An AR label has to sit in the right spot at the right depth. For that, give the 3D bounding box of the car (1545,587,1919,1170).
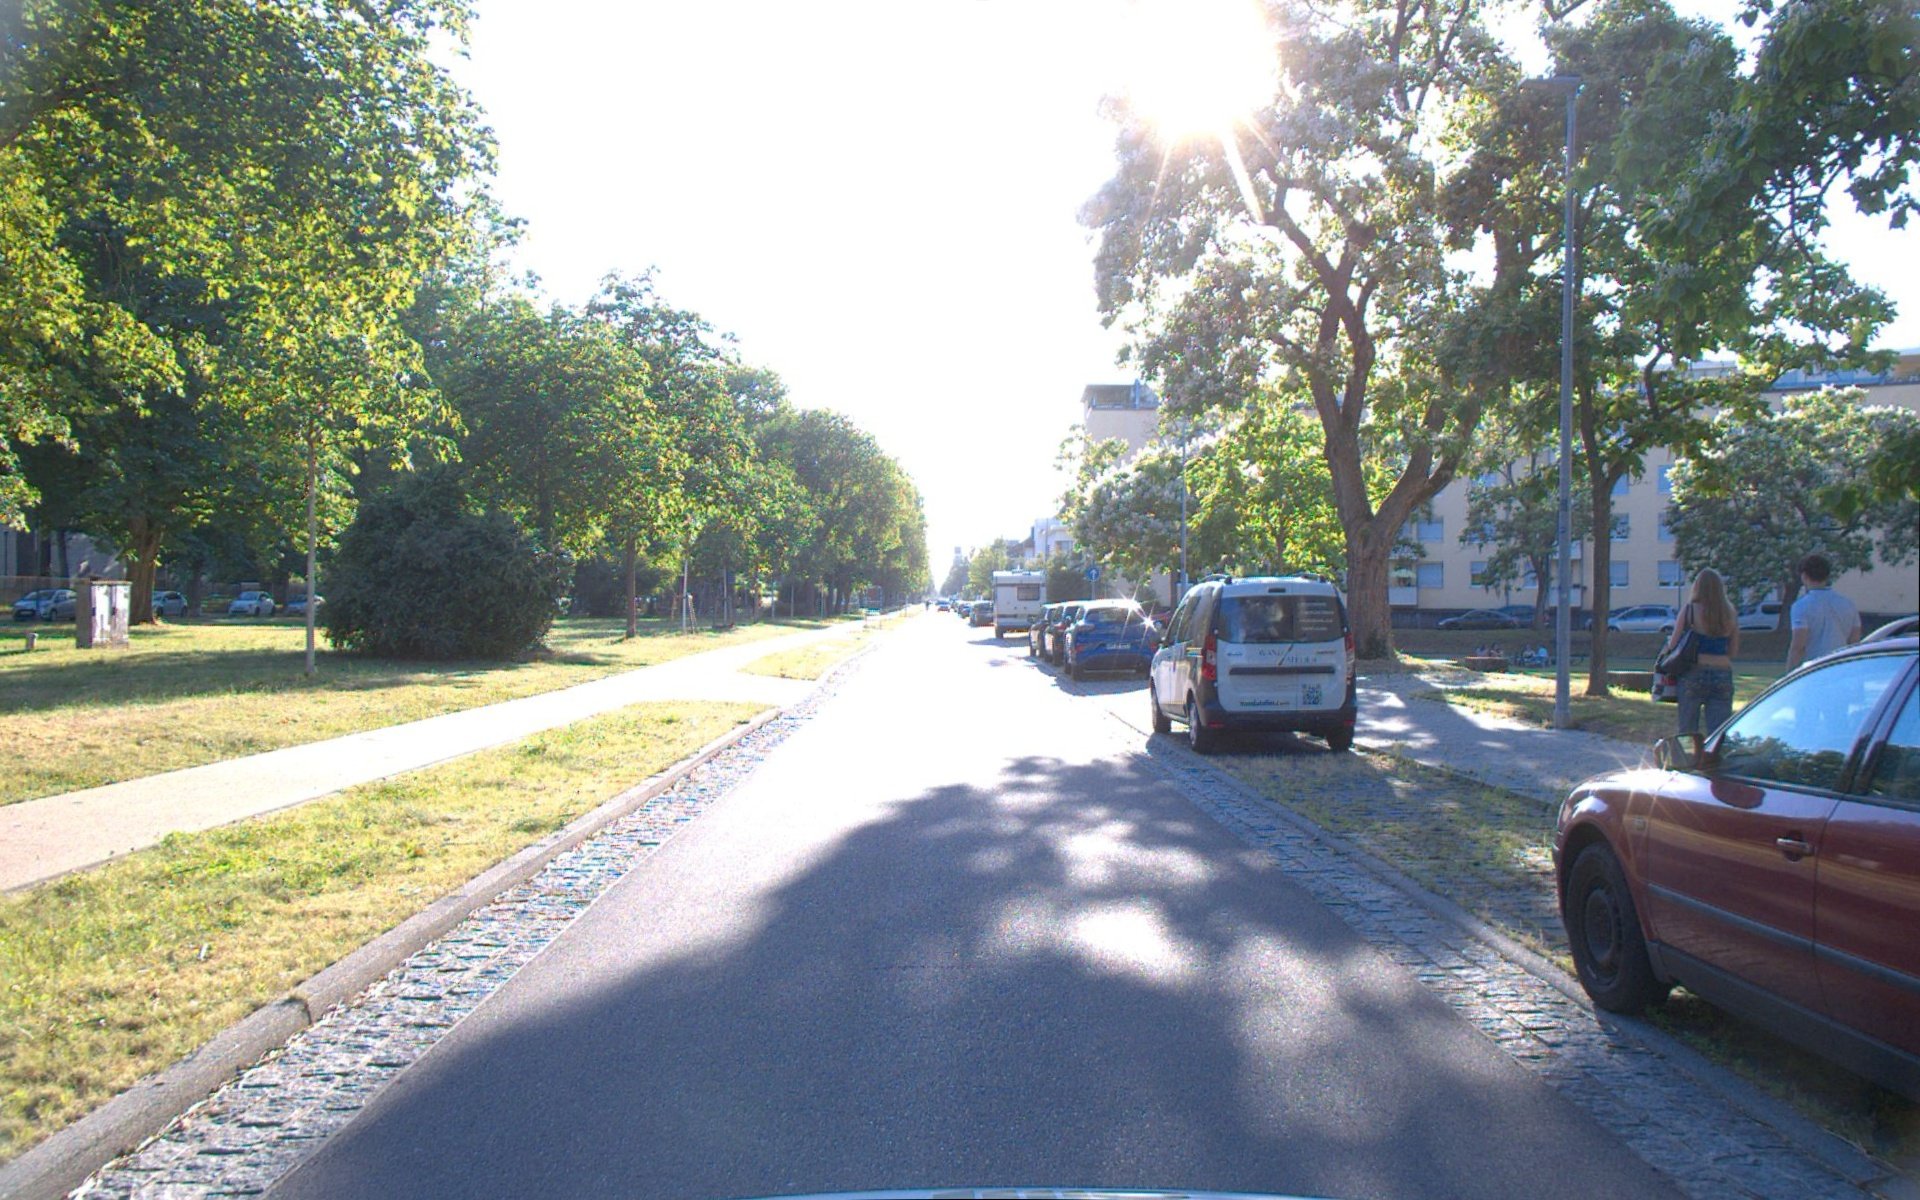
[{"bbox_3d":[3.309,0.724,4.524,1.644,1.512,4.808,0,-1,-1],"label":"car"}]

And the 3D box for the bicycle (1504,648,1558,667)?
[{"bbox_3d":[20.683,2.082,59.886,1.730,0.626,1.811,0,0,23],"label":"bicycle"}]

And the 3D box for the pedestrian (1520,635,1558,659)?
[{"bbox_3d":[21.906,1.776,62.613,0.570,0.827,1.238,2,0,-45],"label":"pedestrian"}]

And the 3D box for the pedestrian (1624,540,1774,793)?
[{"bbox_3d":[5.358,0.467,12.027,0.738,1.766,0.731,1,0,0],"label":"pedestrian"}]

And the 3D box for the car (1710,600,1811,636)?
[{"bbox_3d":[40.706,0.899,84.157,4.433,1.776,1.874,0,-1,35],"label":"car"}]

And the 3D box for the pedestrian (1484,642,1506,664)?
[{"bbox_3d":[20.924,2.058,64.690,0.598,0.827,0.724,1,0,1],"label":"pedestrian"}]

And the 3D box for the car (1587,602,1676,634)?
[{"bbox_3d":[33.081,0.879,81.492,3.909,1.579,1.608,0,-1,27],"label":"car"}]

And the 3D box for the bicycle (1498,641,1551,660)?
[{"bbox_3d":[20.835,1.845,61.003,1.730,0.626,1.811,0,0,23],"label":"bicycle"}]

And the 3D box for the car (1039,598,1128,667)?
[{"bbox_3d":[2.967,0.773,40.460,1.697,1.578,4.420,0,-1,-2],"label":"car"}]

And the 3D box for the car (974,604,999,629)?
[{"bbox_3d":[1.802,1.115,113.032,1.593,1.698,4.248,0,-1,-1],"label":"car"}]

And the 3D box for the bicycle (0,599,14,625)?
[{"bbox_3d":[-43.808,0.543,74.978,0.644,1.196,2.332,0,-1,-3],"label":"bicycle"}]

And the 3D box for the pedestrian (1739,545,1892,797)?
[{"bbox_3d":[6.211,0.503,12.040,0.710,1.766,0.731,1,0,0],"label":"pedestrian"}]

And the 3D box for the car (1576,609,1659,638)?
[{"bbox_3d":[34.723,1.245,87.345,3.910,1.478,1.878,0,-1,28],"label":"car"}]

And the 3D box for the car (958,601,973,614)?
[{"bbox_3d":[0.586,0.832,177.949,1.593,1.434,4.248,0,-1,-1],"label":"car"}]

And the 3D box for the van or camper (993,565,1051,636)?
[{"bbox_3d":[2.630,0.086,71.805,2.189,2.955,5.671,0,-2,-1],"label":"van or camper"}]

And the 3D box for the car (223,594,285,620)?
[{"bbox_3d":[-42.208,0.455,99.006,1.953,1.534,4.115,0,-1,0],"label":"car"}]

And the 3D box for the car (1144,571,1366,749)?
[{"bbox_3d":[3.203,0.620,18.793,1.644,1.770,4.512,0,-1,-1],"label":"car"}]

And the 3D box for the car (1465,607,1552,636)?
[{"bbox_3d":[29.810,1.162,89.930,4.416,1.597,1.881,0,-1,18],"label":"car"}]

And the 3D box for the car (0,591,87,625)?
[{"bbox_3d":[-42.460,0.394,76.592,1.953,1.534,4.000,0,-1,0],"label":"car"}]

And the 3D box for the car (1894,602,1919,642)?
[{"bbox_3d":[44.335,0.979,73.668,4.447,1.776,1.868,-1,-1,43],"label":"car"}]

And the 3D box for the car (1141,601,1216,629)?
[{"bbox_3d":[12.348,0.836,93.774,4.107,1.557,2.001,0,-1,3],"label":"car"}]

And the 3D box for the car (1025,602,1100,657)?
[{"bbox_3d":[2.868,0.811,47.042,1.594,1.490,4.245,0,-1,-4],"label":"car"}]

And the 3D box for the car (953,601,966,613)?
[{"bbox_3d":[-0.093,0.923,214.203,1.593,1.434,4.248,0,-1,-1],"label":"car"}]

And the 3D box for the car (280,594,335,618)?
[{"bbox_3d":[-42.294,0.380,107.305,1.953,1.534,4.115,0,-1,0],"label":"car"}]

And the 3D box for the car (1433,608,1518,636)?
[{"bbox_3d":[26.380,1.124,84.627,4.108,1.381,1.693,0,-1,20],"label":"car"}]

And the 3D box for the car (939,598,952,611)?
[{"bbox_3d":[-2.034,0.633,230.202,1.789,1.698,4.248,0,-1,-1],"label":"car"}]

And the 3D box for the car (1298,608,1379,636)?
[{"bbox_3d":[19.793,1.145,86.428,4.106,1.488,1.694,0,-1,15],"label":"car"}]

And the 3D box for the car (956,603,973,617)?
[{"bbox_3d":[0.469,1.043,166.680,1.593,1.434,4.248,0,-1,-1],"label":"car"}]

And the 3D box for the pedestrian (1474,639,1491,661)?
[{"bbox_3d":[20.115,1.923,63.712,0.463,0.827,0.612,1,0,1],"label":"pedestrian"}]

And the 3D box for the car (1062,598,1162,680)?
[{"bbox_3d":[3.078,0.776,34.210,1.696,1.578,4.275,0,-1,0],"label":"car"}]

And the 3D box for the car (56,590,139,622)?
[{"bbox_3d":[-42.367,0.319,81.352,1.953,1.534,4.000,0,-1,0],"label":"car"}]

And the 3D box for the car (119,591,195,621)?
[{"bbox_3d":[-42.085,0.320,86.784,1.953,1.534,4.115,0,-1,0],"label":"car"}]
